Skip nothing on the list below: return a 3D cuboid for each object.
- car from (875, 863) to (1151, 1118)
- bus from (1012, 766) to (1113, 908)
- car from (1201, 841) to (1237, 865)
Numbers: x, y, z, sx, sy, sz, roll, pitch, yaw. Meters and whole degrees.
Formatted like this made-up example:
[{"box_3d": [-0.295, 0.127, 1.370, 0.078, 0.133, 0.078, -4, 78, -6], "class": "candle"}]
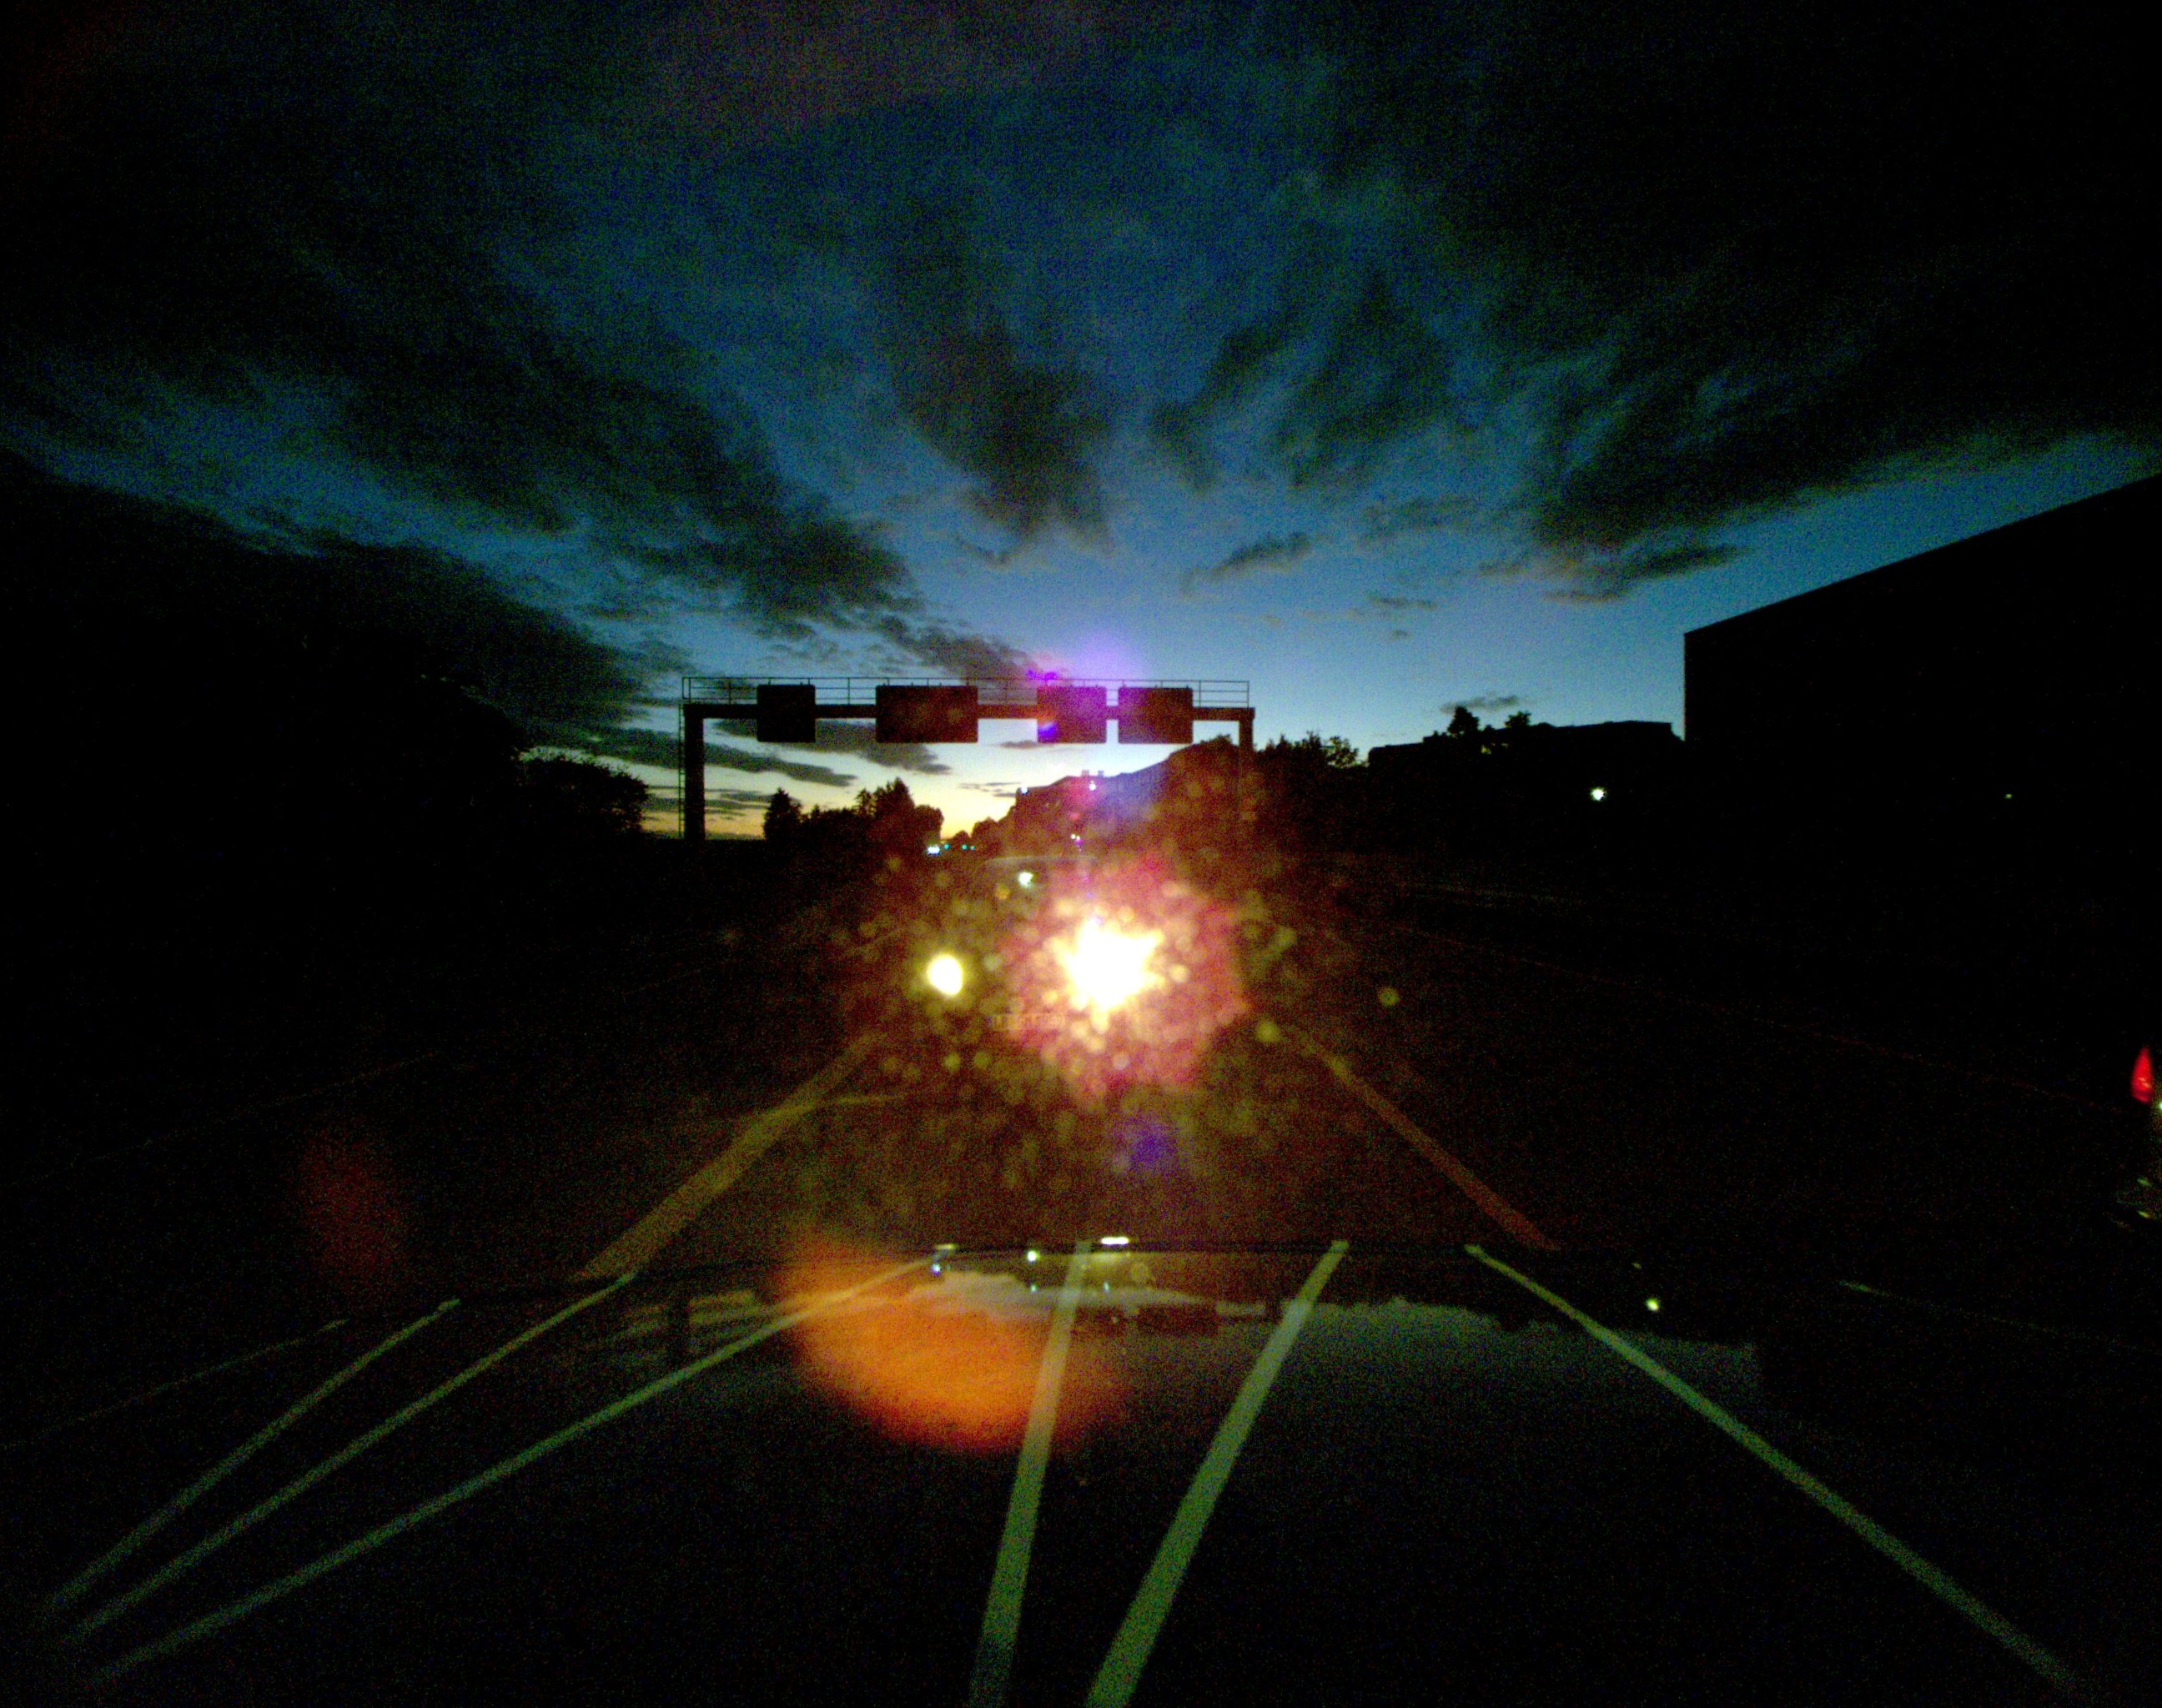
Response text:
[{"box_3d": [-0.318, 0.875, 6.592, 1.669, 1.472, 3.777, -2, 1, 3], "class": "car"}, {"box_3d": [-0.721, -0.522, 26.752, 2.614, 3.768, 12.271, -2, 1, -2], "class": "bus"}, {"box_3d": [8.797, -0.046, 48.570, 1.761, 1.435, 4.110, -1, 0, 4], "class": "car"}]
